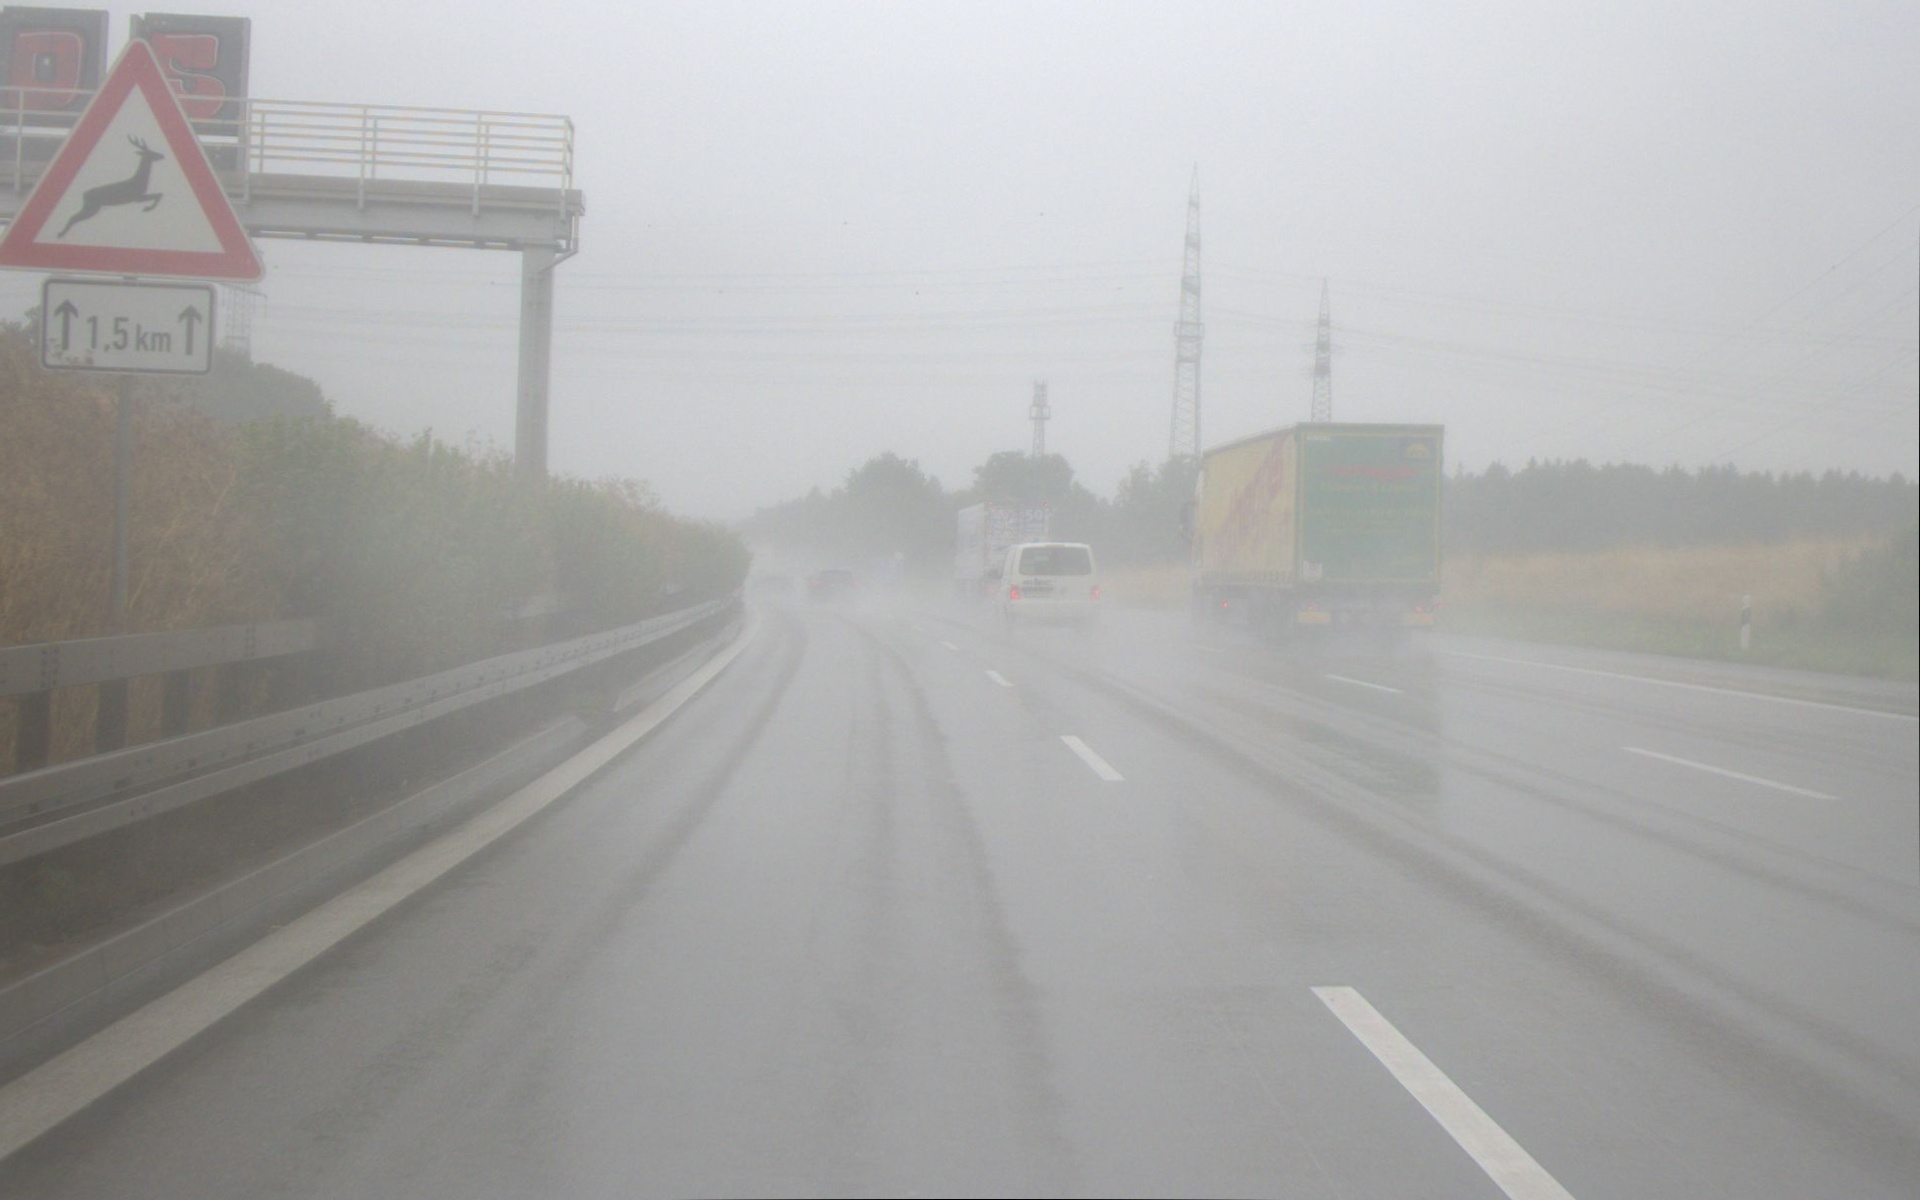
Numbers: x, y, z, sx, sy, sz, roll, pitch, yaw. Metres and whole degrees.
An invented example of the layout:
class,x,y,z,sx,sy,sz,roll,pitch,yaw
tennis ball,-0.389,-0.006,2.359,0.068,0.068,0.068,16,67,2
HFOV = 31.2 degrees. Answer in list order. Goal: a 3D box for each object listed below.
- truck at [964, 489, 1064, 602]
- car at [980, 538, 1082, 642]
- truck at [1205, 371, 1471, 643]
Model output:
class,x,y,z,sx,sy,sz,roll,pitch,yaw
truck,2.066,-2.178,135.652,3.232,4.296,8.838,0,1,-3
car,1.438,-0.233,69.931,1.993,2.007,4.000,1,1,1
truck,7.036,-1.680,66.846,4.189,4.614,16.104,1,1,3
